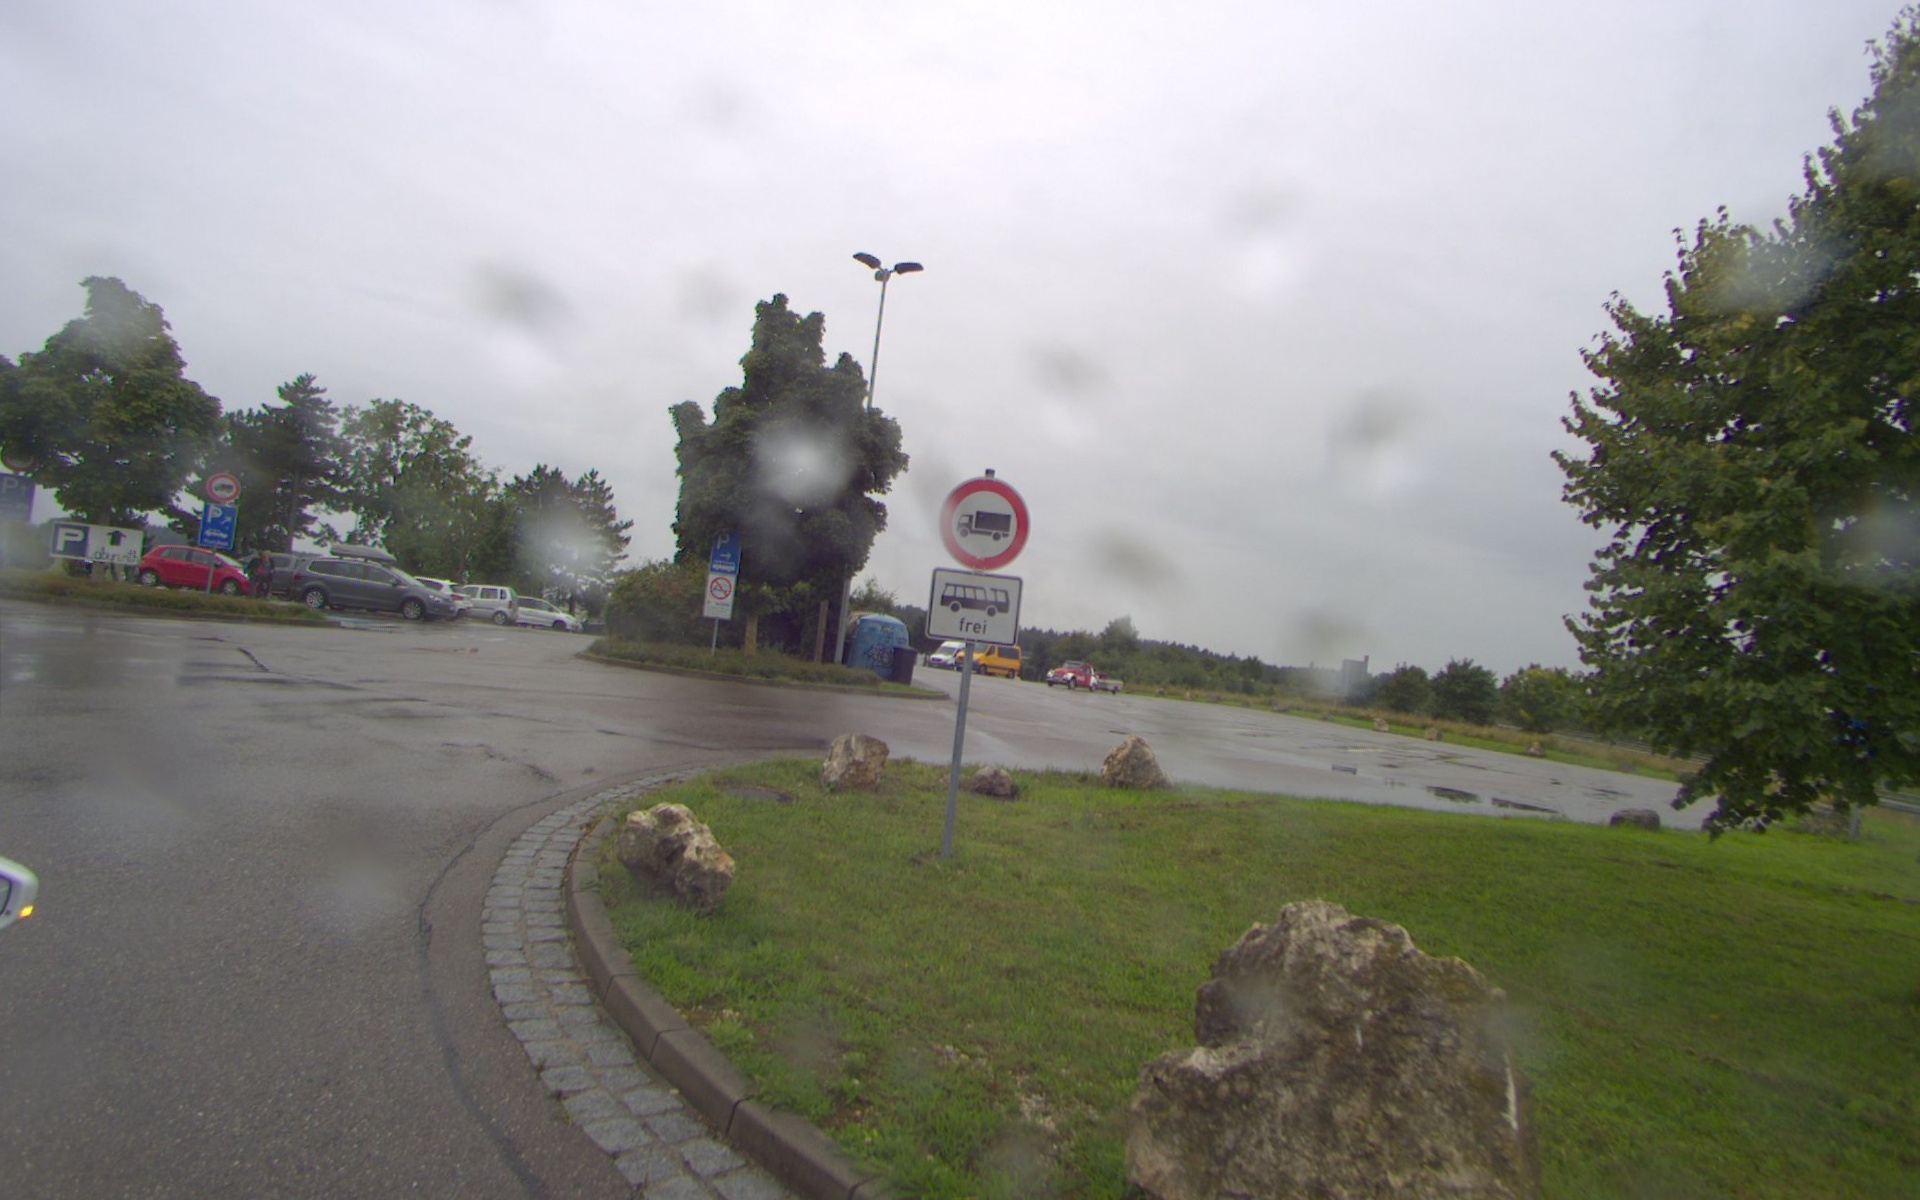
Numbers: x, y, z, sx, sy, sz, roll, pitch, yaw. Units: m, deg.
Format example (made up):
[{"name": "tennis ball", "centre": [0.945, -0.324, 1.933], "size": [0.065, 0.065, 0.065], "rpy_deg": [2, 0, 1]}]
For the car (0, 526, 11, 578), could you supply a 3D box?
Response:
[{"name": "car", "centre": [-37.712, -2.056, 36.526], "size": [4.297, 1.882, 1.719], "rpy_deg": [7, -4, -12]}]

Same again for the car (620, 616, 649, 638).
[{"name": "car", "centre": [-24.689, 2.074, 76.383], "size": [1.624, 1.385, 3.809], "rpy_deg": [7, -4, -12]}]

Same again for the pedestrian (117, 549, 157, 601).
[{"name": "pedestrian", "centre": [-23.281, -0.709, 28.470], "size": [0.446, 1.376, 0.643], "rpy_deg": [3, -5, 38]}]

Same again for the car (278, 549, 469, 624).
[{"name": "car", "centre": [-19.126, -0.400, 33.030], "size": [4.870, 1.813, 1.997], "rpy_deg": [7, -2, -12]}]

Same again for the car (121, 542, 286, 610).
[{"name": "car", "centre": [-25.946, -0.789, 34.642], "size": [3.957, 1.813, 1.848], "rpy_deg": [7, -1, -12]}]

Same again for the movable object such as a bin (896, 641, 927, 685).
[{"name": "movable object such as a bin", "centre": [-1.152, 1.500, 23.942], "size": [0.469, 0.960, 0.431], "rpy_deg": [8, -1, -34]}]

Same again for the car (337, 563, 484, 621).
[{"name": "car", "centre": [-19.468, -0.253, 35.821], "size": [4.127, 1.535, 1.741], "rpy_deg": [7, -1, -10]}]

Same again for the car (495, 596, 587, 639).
[{"name": "car", "centre": [-23.488, 1.000, 56.569], "size": [4.297, 1.882, 1.850], "rpy_deg": [7, -4, -12]}]

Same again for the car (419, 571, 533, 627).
[{"name": "car", "centre": [-20.943, -0.004, 43.713], "size": [3.957, 1.882, 1.850], "rpy_deg": [7, -4, -12]}]

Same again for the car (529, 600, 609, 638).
[{"name": "car", "centre": [-25.013, 1.256, 64.505], "size": [4.297, 1.883, 1.849], "rpy_deg": [8, -3, -12]}]

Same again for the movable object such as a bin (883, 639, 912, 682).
[{"name": "movable object such as a bin", "centre": [-1.524, 1.480, 24.567], "size": [0.399, 0.960, 0.450], "rpy_deg": [7, -1, 33]}]

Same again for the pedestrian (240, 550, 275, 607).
[{"name": "pedestrian", "centre": [-21.737, -0.653, 31.128], "size": [0.709, 1.656, 0.641], "rpy_deg": [7, -3, -33]}]

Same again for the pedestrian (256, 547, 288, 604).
[{"name": "pedestrian", "centre": [-22.393, -0.779, 32.776], "size": [0.605, 1.743, 0.679], "rpy_deg": [8, -4, -30]}]

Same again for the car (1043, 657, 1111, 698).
[{"name": "car", "centre": [6.314, 4.181, 54.167], "size": [1.800, 1.796, 3.993], "rpy_deg": [4, -4, 36]}]

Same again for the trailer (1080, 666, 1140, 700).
[{"name": "trailer", "centre": [8.597, 4.772, 57.433], "size": [1.674, 1.549, 3.992], "rpy_deg": [4, -4, 35]}]
